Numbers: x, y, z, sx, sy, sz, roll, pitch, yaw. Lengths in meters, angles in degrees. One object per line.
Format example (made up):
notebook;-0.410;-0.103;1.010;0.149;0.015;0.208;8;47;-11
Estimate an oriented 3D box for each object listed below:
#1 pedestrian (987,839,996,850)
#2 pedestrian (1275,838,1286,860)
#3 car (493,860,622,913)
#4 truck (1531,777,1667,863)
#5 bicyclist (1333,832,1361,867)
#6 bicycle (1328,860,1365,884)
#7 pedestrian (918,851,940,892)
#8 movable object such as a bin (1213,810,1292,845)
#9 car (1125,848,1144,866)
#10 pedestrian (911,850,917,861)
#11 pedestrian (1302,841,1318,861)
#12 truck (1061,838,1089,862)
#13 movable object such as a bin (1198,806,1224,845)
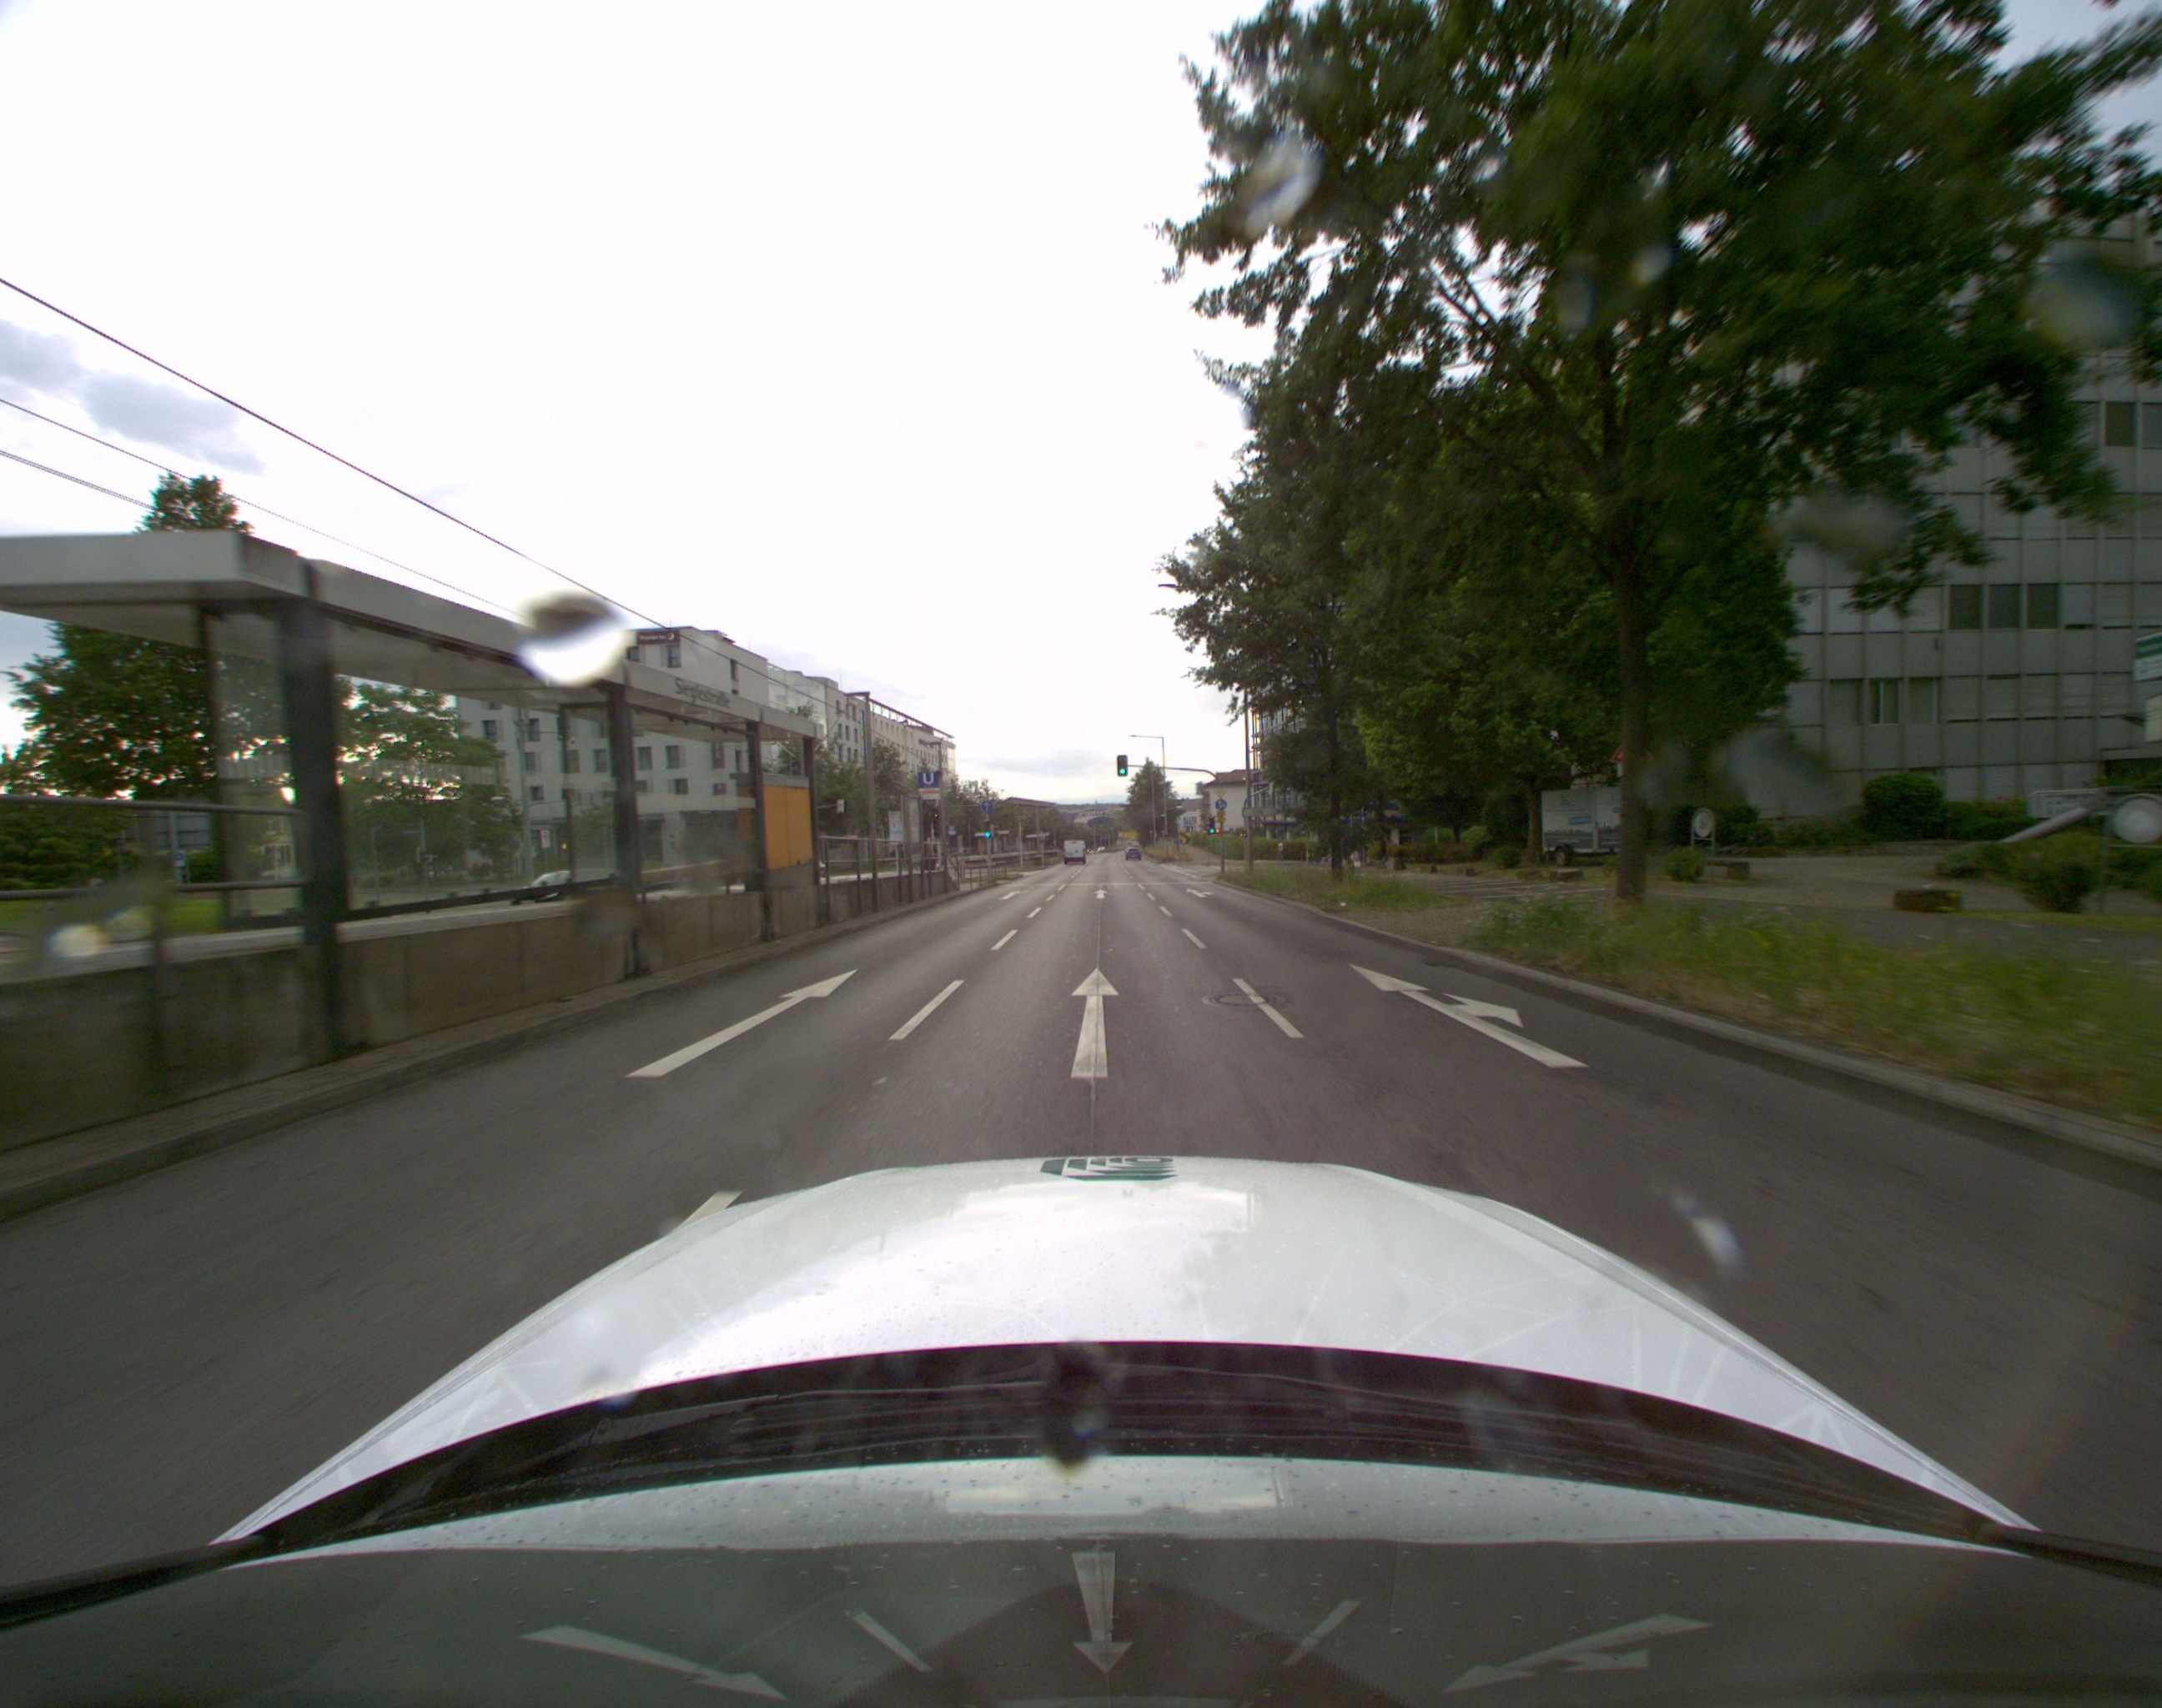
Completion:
pedestrian;-11.386;-1.208;103.642;0.957;1.300;0.685;-2;1;3
pedestrian;15.738;-0.401;64.213;0.553;1.652;0.830;-2;0;-8
car;-20.015;1.185;31.400;1.986;1.774;4.391;-2;1;2
truck;16.467;-1.016;26.126;1.741;2.517;3.997;0;0;-2
bicyclist;9.743;-0.166;29.905;0.653;1.288;1.220;0;0;1
bicycle;9.745;0.636;29.987;0.665;0.809;2.319;0;0;2
pedestrian;-6.175;0.701;33.157;0.704;1.650;0.644;-1;1;-27
movable object such as a bin;28.126;-4.300;133.815;12.094;5.261;3.791;-2;0;2
car;6.171;0.340;93.545;1.984;2.013;3.940;0;0;5
pedestrian;-25.711;0.221;125.262;0.597;1.578;0.836;0;0;4
pedestrian;17.493;-0.216;62.271;0.892;1.541;0.804;-1;0;40
truck;-0.543;-0.412;80.328;2.350;2.262;5.310;0;0;3
movable object such as a bin;19.559;-4.168;123.202;3.275;5.684;8.776;0;0;5
